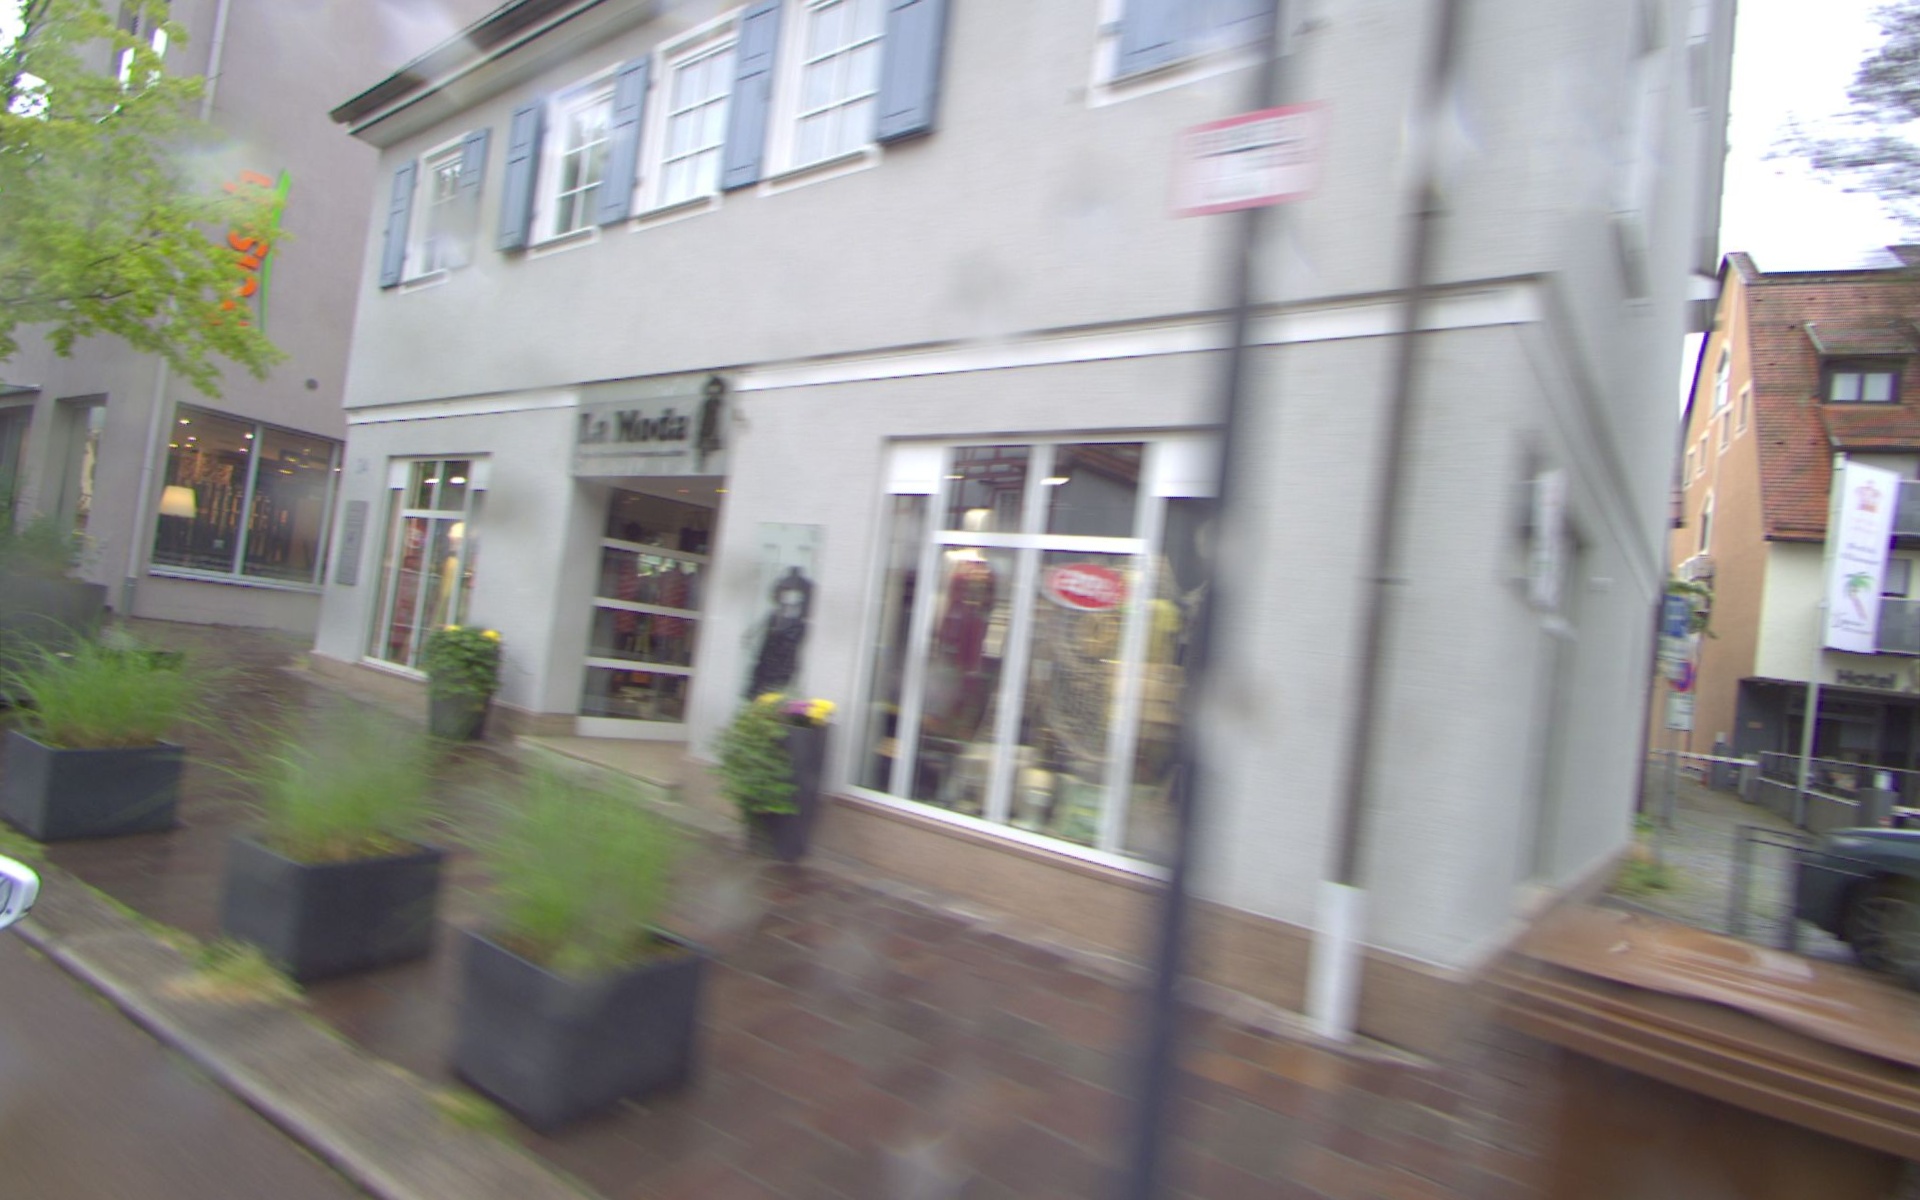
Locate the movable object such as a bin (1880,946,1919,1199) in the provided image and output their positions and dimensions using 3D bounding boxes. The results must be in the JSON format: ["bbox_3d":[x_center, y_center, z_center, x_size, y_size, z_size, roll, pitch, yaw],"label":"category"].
[{"bbox_3d":[1.663,1.143,1.301,0.601,1.110,0.737,5,-3,34],"label":"movable object such as a bin"}]

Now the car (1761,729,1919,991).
[{"bbox_3d":[7.735,1.951,5.856,1.862,1.618,4.375,9,-2,-18],"label":"car"}]

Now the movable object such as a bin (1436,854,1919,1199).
[{"bbox_3d":[1.153,1.084,1.643,0.645,1.103,0.754,7,-1,31],"label":"movable object such as a bin"}]
